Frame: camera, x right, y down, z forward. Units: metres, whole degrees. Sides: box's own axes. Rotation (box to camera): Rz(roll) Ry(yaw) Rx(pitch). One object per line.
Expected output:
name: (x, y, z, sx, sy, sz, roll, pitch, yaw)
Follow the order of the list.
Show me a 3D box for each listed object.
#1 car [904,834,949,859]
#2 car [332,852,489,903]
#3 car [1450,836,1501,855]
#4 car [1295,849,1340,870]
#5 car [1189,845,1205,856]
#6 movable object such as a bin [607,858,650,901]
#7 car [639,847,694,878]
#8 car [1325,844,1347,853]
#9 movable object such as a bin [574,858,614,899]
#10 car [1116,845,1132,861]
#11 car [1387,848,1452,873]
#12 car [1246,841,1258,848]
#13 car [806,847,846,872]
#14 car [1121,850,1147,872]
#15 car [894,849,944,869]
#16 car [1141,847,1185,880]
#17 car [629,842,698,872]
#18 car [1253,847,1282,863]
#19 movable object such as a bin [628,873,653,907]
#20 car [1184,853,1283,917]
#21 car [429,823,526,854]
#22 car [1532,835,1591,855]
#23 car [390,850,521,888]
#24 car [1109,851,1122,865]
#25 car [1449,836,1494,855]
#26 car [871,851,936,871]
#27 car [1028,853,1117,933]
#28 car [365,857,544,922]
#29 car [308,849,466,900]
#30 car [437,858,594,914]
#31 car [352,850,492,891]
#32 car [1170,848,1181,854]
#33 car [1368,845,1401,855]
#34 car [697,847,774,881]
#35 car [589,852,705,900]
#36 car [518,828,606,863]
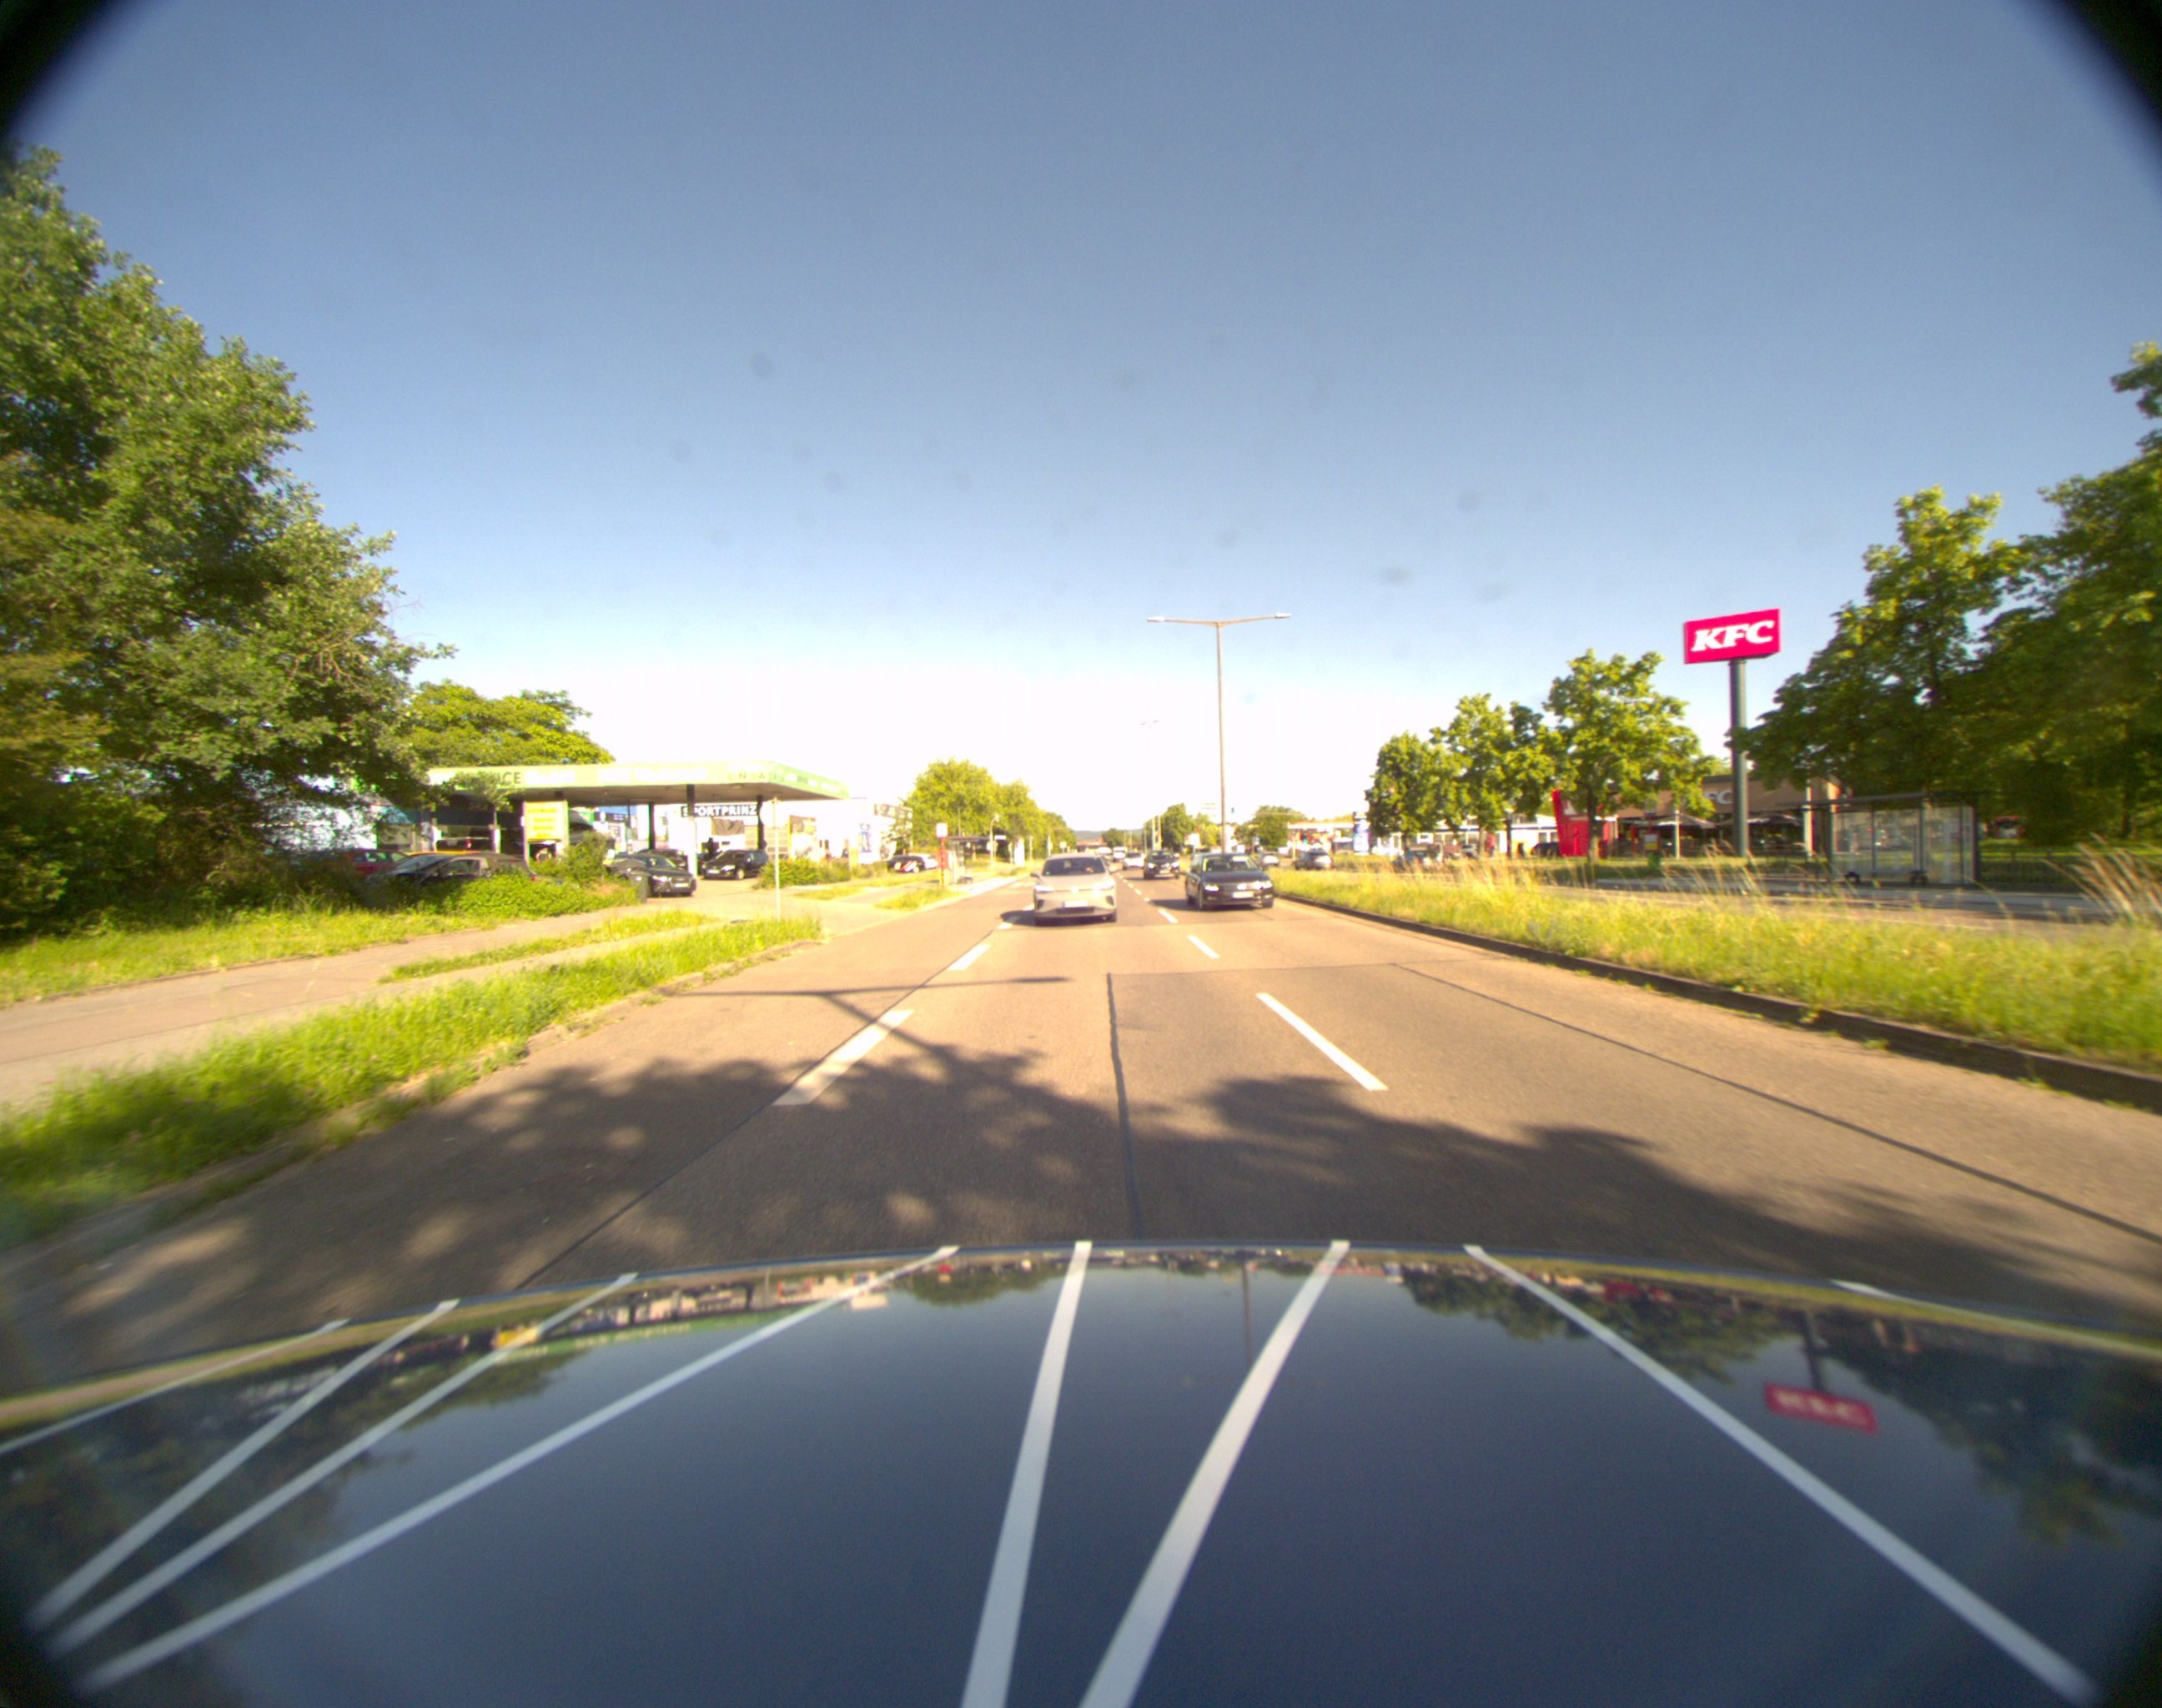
car: (-14.669, -0.714, 72.178, 3.986, 2.002, 1.690, 6, 1, 33)
car: (-22.548, 0.731, 25.787, 1.728, 1.455, 3.915, -3, 1, 1)
car: (39.679, -0.843, 76.538, 1.899, 1.652, 4.122, -4, 1, -41)
car: (16.773, 0.354, 54.195, 1.822, 1.426, 4.630, 0, 1, 1)
car: (18.317, -0.509, 120.349, 1.998, 1.674, 4.176, 0, 1, 1)
movable object such as a bin: (-15.566, 0.875, 26.119, 0.991, 1.420, 1.257, -3, 0, -42)
car: (-21.751, 0.465, 39.819, 2.003, 1.477, 3.990, -4, 1, -35)
car: (39.201, -0.879, 116.793, 1.900, 1.317, 4.119, 0, 1, 0)
movable object such as a bin: (-17.593, 0.864, 27.445, 0.991, 1.420, 1.221, -2, 1, -42)
car: (6.282, -0.216, 110.944, 2.089, 2.229, 4.000, -3, 1, 1)
car: (20.458, 0.346, 46.134, 1.919, 1.446, 4.489, 0, 1, 1)
car: (40.252, -2.332, 178.869, 1.762, 1.604, 4.119, 0, 1, 0)
car: (-21.270, 0.428, 63.531, 1.898, 1.850, 4.215, 2, 1, -1)
car: (4.554, 0.574, 66.111, 1.998, 1.779, 4.270, -3, 1, 1)
car: (-14.733, 0.464, 69.186, 3.924, 1.444, 1.726, 6, 2, 12)
car: (4.534, 0.483, 42.610, 1.998, 1.674, 4.695, -3, 1, 1)
car: (-29.623, 0.197, 54.001, 3.700, 1.896, 1.924, -3, 1, 1)
car: (17.216, 0.047, 70.246, 1.645, 1.442, 4.111, 0, 1, 1)
movable object such as a bin: (-14.342, 1.167, 24.742, 0.583, 1.068, 0.508, -3, 1, -40)
car: (3.951, 0.738, 20.328, 1.848, 1.445, 4.265, -2, 0, 2)
car: (-30.403, -0.758, 38.424, 1.923, 1.469, 3.627, -1, 1, 2)
car: (44.190, -0.831, 69.958, 1.899, 1.652, 4.231, -4, 1, -41)
car: (-26.517, 0.611, 32.313, 3.998, 1.508, 1.735, -1, 1, -3)
car: (5.621, 0.643, 124.048, 1.998, 2.002, 4.000, -3, 1, 1)
car: (41.619, -0.935, 81.055, 1.850, 1.840, 3.820, -4, 1, -39)
car: (-14.390, 0.563, 61.797, 1.895, 1.522, 4.846, 2, 1, 45)
car: (-0.117, 0.842, 18.412, 1.848, 1.615, 4.265, -2, 0, 2)
car: (-16.742, 0.920, 20.431, 3.292, 1.477, 1.772, -3, 1, 3)
car: (-24.696, 0.660, 27.271, 1.717, 1.598, 4.135, -3, 1, 1)
car: (-16.631, 0.913, 22.460, 3.292, 1.409, 1.728, -3, 1, 3)
car: (-26.285, 0.645, 30.425, 3.998, 1.508, 1.697, -1, 1, -3)
car: (22.960, -0.770, 184.628, 1.998, 1.368, 4.622, -1, 1, 1)
car: (44.407, -0.586, 111.164, 4.116, 1.424, 1.901, 0, 1, 1)
car: (-17.211, 0.481, 38.060, 1.748, 1.563, 4.249, -1, 0, 2)
car: (-16.442, 0.779, 28.725, 4.547, 1.630, 1.805, 1, 1, 31)
car: (-27.300, -0.470, 40.139, 1.923, 1.745, 3.778, -1, 1, 2)
